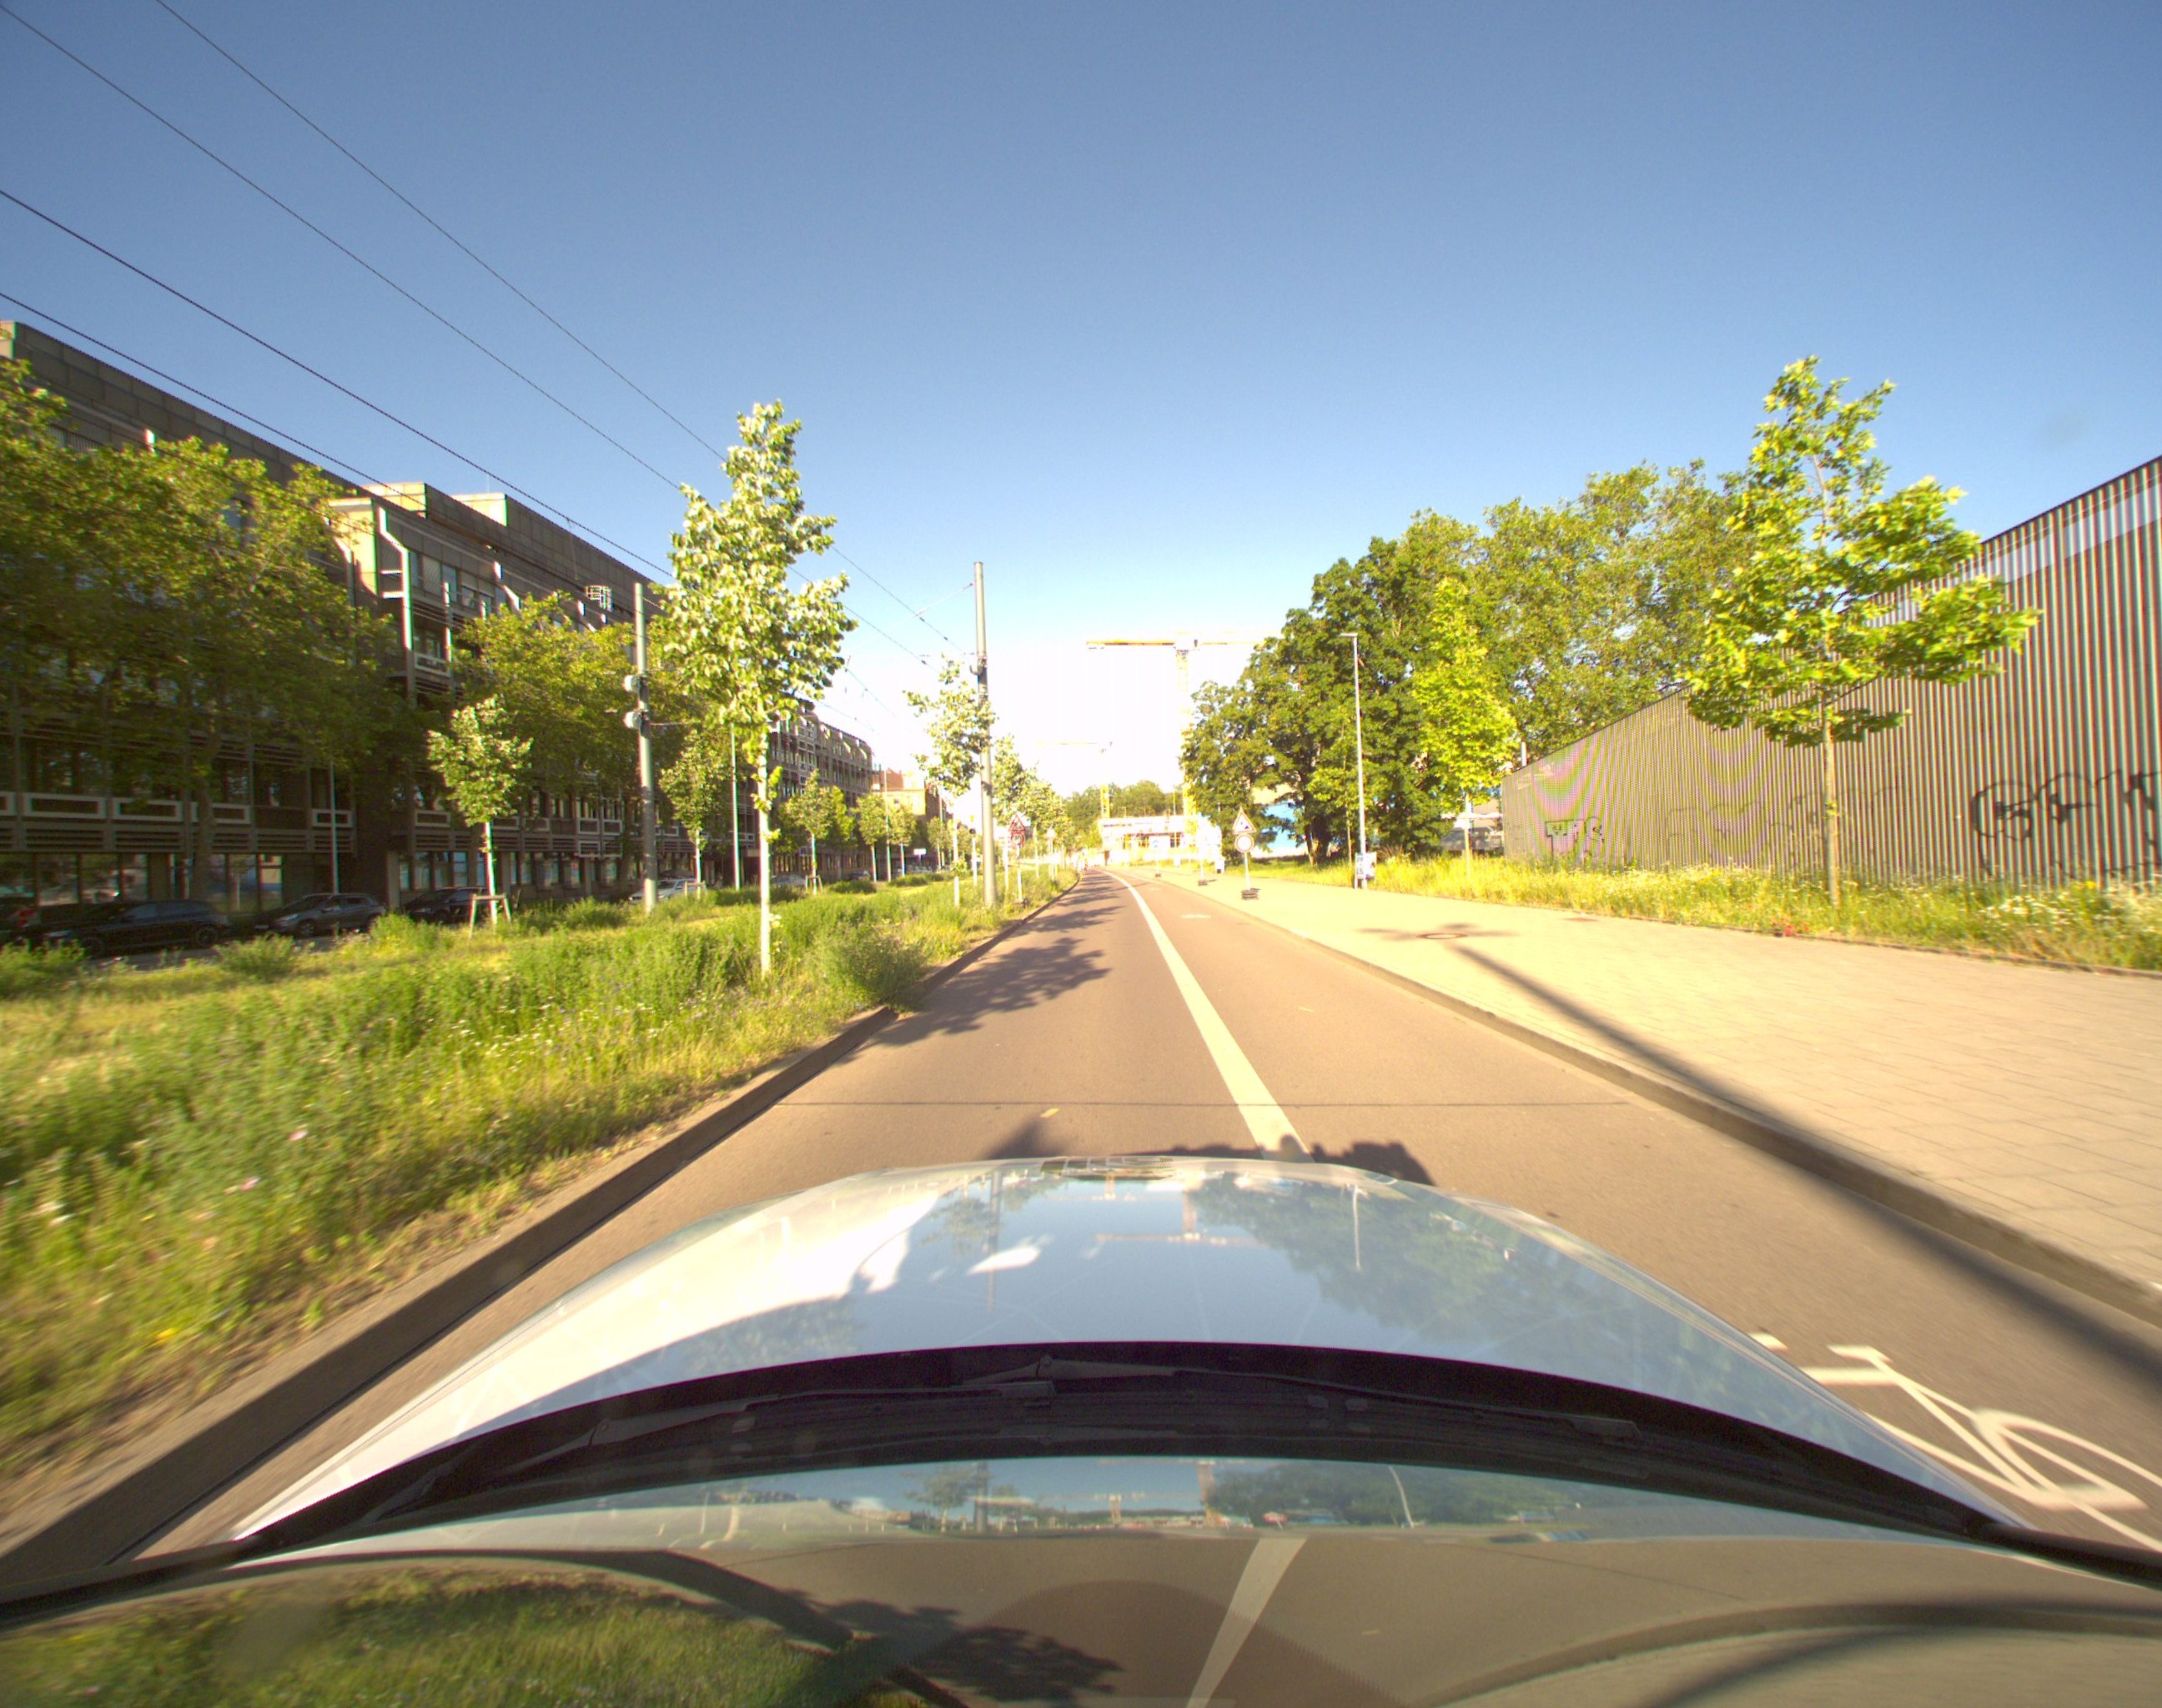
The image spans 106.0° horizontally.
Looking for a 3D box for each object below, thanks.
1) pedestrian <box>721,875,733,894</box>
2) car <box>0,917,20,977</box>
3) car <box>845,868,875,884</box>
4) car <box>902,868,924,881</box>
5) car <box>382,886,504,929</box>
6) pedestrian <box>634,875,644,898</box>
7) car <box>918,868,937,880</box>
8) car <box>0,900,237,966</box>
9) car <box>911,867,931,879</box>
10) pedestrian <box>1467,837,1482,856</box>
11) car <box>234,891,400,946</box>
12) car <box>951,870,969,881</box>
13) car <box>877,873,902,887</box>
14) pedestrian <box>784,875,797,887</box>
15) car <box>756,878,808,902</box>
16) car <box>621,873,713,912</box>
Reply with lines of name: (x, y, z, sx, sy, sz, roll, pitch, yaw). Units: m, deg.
pedestrian: (-28.646, 2.449, 65.869, 0.662, 1.532, 0.648, -3, -1, -5)
car: (-29.142, 2.448, 19.536, 1.983, 1.521, 4.006, -2, 0, 6)
car: (-23.082, 2.271, 85.259, 1.897, 1.575, 4.301, -3, 0, 1)
car: (-22.701, 2.697, 110.050, 1.897, 1.575, 4.301, -3, 0, 1)
car: (-28.419, 2.343, 36.456, 1.853, 1.596, 4.281, -3, -1, 3)
pedestrian: (-31.644, 2.320, 58.288, 0.407, 1.561, 0.447, -3, -1, 3)
car: (-22.935, 2.944, 121.792, 1.897, 1.575, 4.301, -3, 0, 1)
car: (-28.969, 2.304, 24.760, 1.737, 1.557, 4.624, -1, -1, 1)
car: (-22.750, 2.740, 115.852, 1.897, 1.575, 4.301, -3, 0, 1)
pedestrian: (41.727, -0.799, 86.338, 0.915, 2.014, 0.941, -1, -2, -27)
car: (-28.915, 2.403, 31.051, 1.901, 1.632, 4.368, -4, -1, 5)
car: (-18.447, 3.246, 124.127, 1.897, 1.575, 4.410, -3, 0, 1)
car: (-23.369, 3.162, 99.559, 1.897, 1.575, 4.301, -3, 0, 1)
pedestrian: (-30.177, 2.787, 84.626, 0.896, 1.169, 0.899, -3, -1, 2)
car: (-21.304, 2.549, 58.279, 1.751, 1.516, 4.586, -3, -1, 3)
car: (-20.162, 1.823, 39.903, 1.833, 1.594, 4.696, -4, -1, 3)
